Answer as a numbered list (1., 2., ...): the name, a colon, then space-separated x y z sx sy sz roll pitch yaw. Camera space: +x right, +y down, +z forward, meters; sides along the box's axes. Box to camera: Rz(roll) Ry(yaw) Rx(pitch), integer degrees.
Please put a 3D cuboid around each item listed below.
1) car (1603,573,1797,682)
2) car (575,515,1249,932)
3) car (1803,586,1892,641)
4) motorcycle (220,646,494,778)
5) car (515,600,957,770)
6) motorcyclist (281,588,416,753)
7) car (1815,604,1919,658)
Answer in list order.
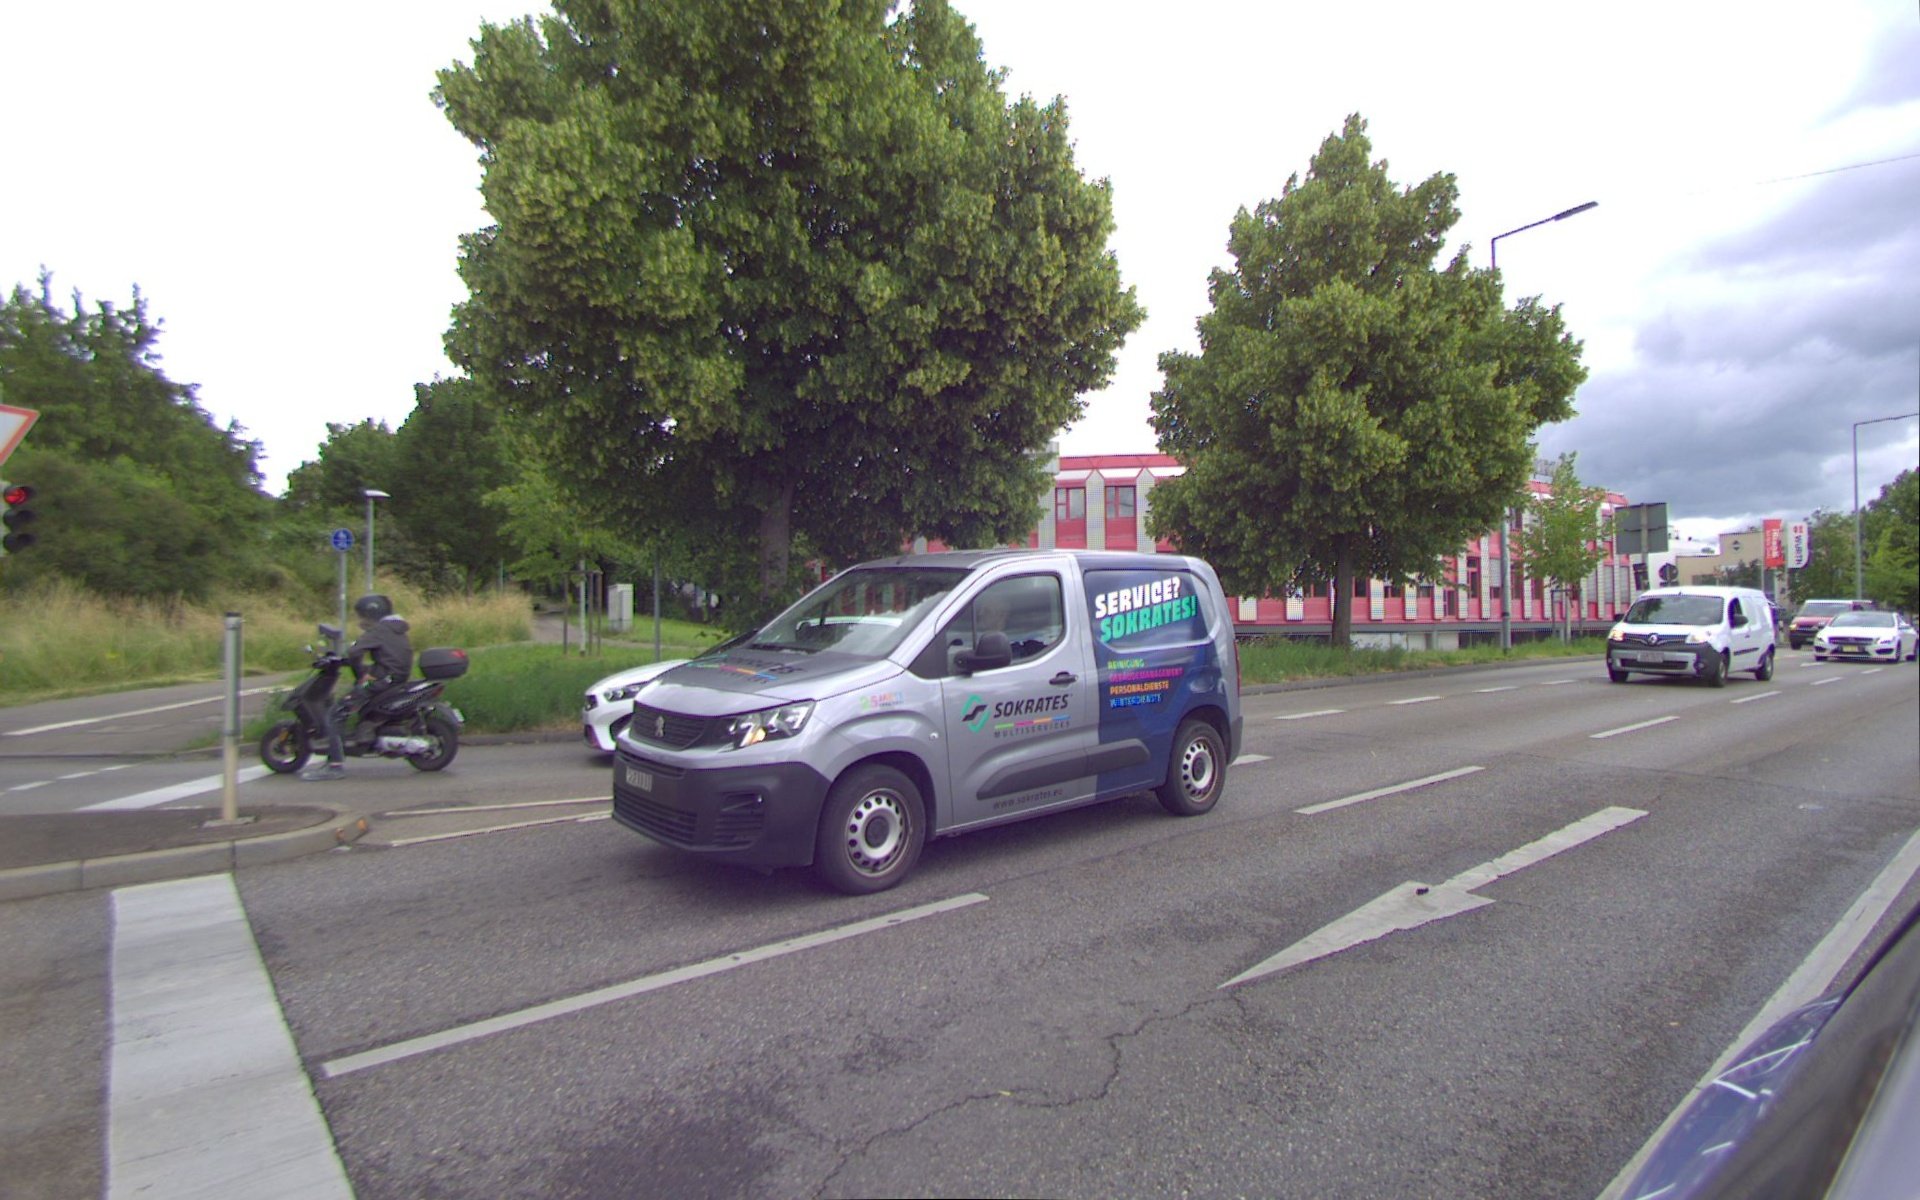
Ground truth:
1. car: 14.046 0.485 19.113 4.611 1.815 1.813 1 -1 -38
2. car: -0.052 0.508 6.467 4.151 1.802 1.811 -1 1 -43
3. car: 34.857 0.554 39.725 4.376 1.930 2.181 4 -2 -42
4. motorcycle: -5.446 0.992 9.251 2.028 1.104 0.760 0 -1 -5
5. car: -2.229 0.765 11.013 1.829 1.438 4.443 -3 -2 43
6. motorcyclist: -5.564 0.617 9.257 0.801 1.440 0.760 0 -1 -5
7. car: 25.847 0.885 28.417 4.141 1.358 1.814 4 -2 -35
